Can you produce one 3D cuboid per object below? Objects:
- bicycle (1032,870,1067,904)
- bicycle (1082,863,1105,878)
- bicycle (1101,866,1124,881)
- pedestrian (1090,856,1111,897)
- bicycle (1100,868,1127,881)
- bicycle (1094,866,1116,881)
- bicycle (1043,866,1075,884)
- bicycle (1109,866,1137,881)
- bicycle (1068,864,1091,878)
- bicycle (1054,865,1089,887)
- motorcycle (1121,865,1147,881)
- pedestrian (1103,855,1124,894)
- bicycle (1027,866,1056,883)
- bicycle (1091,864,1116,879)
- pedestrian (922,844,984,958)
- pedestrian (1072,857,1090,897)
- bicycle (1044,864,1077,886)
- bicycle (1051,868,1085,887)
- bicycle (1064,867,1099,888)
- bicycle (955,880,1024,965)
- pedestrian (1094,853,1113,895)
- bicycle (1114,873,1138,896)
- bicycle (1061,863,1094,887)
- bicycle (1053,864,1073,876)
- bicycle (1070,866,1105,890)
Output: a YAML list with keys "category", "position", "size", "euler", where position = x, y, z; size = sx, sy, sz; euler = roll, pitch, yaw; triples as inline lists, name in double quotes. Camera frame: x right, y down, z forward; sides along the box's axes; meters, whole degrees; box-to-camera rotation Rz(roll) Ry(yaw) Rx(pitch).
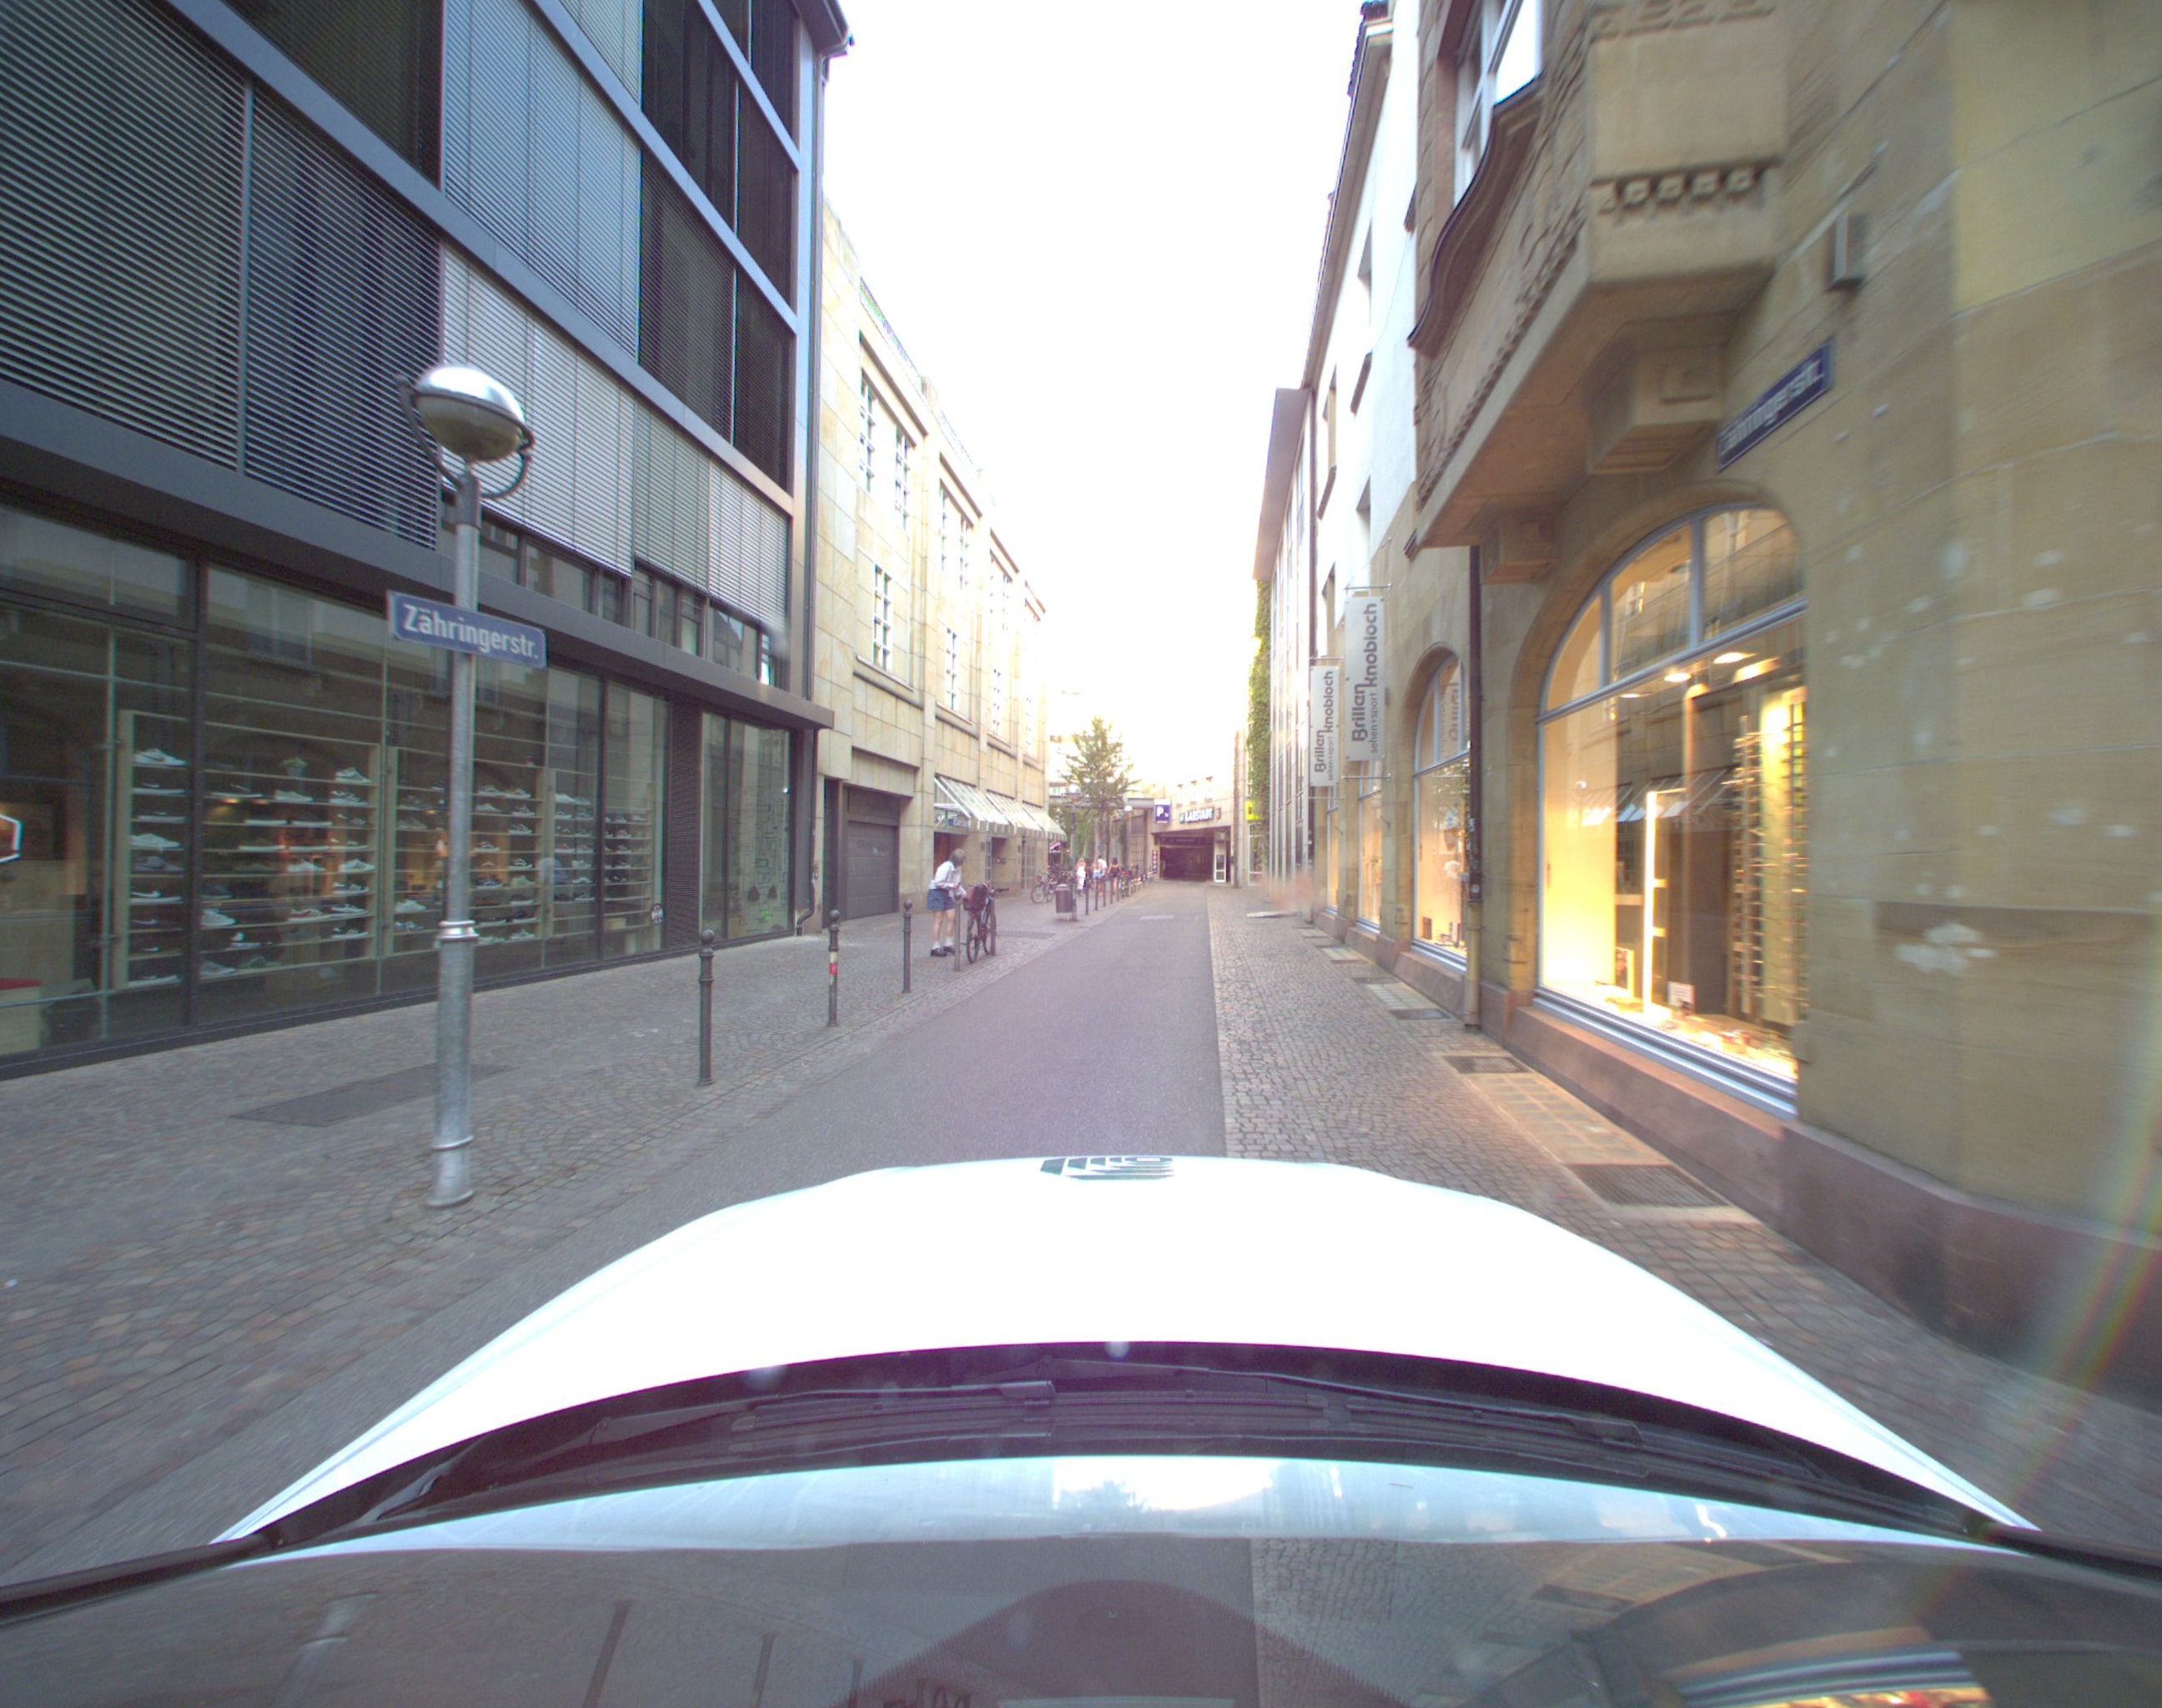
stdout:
- category: "bicycle"
  position: [-1.112, 1.160, 29.135]
  size: [0.517, 1.138, 1.774]
  euler: [-1, -1, 24]
- category: "bicycle"
  position: [0.997, 1.315, 64.943]
  size: [1.775, 1.114, 0.540]
  euler: [0, -1, -13]
- category: "bicycle"
  position: [2.215, 1.352, 57.855]
  size: [1.541, 1.049, 0.573]
  euler: [0, -1, -13]
- category: "pedestrian"
  position: [0.819, 0.946, 34.541]
  size: [0.802, 1.729, 0.950]
  euler: [0, -1, 7]
- category: "bicycle"
  position: [2.264, 1.405, 56.707]
  size: [1.775, 0.904, 0.461]
  euler: [0, -1, -13]
- category: "bicycle"
  position: [1.729, 1.386, 58.906]
  size: [1.541, 1.049, 0.573]
  euler: [0, -1, -13]
- category: "bicycle"
  position: [-1.376, 1.304, 50.771]
  size: [1.880, 1.043, 0.531]
  euler: [-1, -1, -15]
- category: "bicycle"
  position: [2.893, 1.323, 55.946]
  size: [1.850, 0.982, 0.461]
  euler: [0, -1, -13]
- category: "bicycle"
  position: [-0.112, 1.413, 67.368]
  size: [1.775, 1.114, 0.540]
  euler: [0, -1, -13]
- category: "bicycle"
  position: [-0.544, 1.232, 45.621]
  size: [1.875, 1.177, 0.531]
  euler: [-1, -1, -15]
- category: "motorcycle"
  position: [3.524, 1.273, 54.220]
  size: [1.664, 1.050, 0.461]
  euler: [0, -1, -13]
- category: "pedestrian"
  position: [1.506, 0.930, 37.608]
  size: [0.779, 1.795, 0.976]
  euler: [0, 0, 13]
- category: "bicycle"
  position: [-2.555, 1.316, 52.703]
  size: [1.827, 1.043, 0.531]
  euler: [-1, -1, -15]
- category: "bicycle"
  position: [1.688, 1.341, 61.510]
  size: [1.775, 1.114, 0.540]
  euler: [0, -1, -13]
- category: "pedestrian"
  position: [-2.010, 0.721, 12.814]
  size: [0.763, 1.718, 0.593]
  euler: [2, 0, 7]
- category: "pedestrian"
  position: [0.004, 0.979, 34.688]
  size: [0.671, 1.664, 0.862]
  euler: [0, -1, 7]
- category: "bicycle"
  position: [-1.162, 1.194, 46.919]
  size: [1.836, 1.225, 0.531]
  euler: [-1, -1, -15]
- category: "bicycle"
  position: [-0.744, 1.337, 46.182]
  size: [1.897, 1.052, 0.531]
  euler: [-1, -1, -15]
- category: "bicycle"
  position: [0.043, 1.278, 44.579]
  size: [1.839, 1.122, 0.531]
  euler: [-1, -1, -15]
- category: "bicycle"
  position: [-1.389, 1.014, 12.706]
  size: [0.529, 1.153, 1.920]
  euler: [2, 0, 10]
- category: "pedestrian"
  position: [0.992, 0.887, 36.106]
  size: [0.738, 1.822, 0.880]
  euler: [0, -1, 7]
- category: "bicycle"
  position: [1.965, 1.335, 35.626]
  size: [0.488, 0.939, 1.668]
  euler: [1, 0, 23]
- category: "bicycle"
  position: [-0.198, 1.123, 43.711]
  size: [1.656, 1.231, 0.531]
  euler: [-1, -1, -15]
- category: "bicycle"
  position: [-1.637, 1.429, 73.405]
  size: [1.773, 1.114, 0.541]
  euler: [0, -1, -10]
- category: "bicycle"
  position: [0.330, 1.242, 42.348]
  size: [1.769, 1.231, 0.531]
  euler: [-1, -1, -15]
